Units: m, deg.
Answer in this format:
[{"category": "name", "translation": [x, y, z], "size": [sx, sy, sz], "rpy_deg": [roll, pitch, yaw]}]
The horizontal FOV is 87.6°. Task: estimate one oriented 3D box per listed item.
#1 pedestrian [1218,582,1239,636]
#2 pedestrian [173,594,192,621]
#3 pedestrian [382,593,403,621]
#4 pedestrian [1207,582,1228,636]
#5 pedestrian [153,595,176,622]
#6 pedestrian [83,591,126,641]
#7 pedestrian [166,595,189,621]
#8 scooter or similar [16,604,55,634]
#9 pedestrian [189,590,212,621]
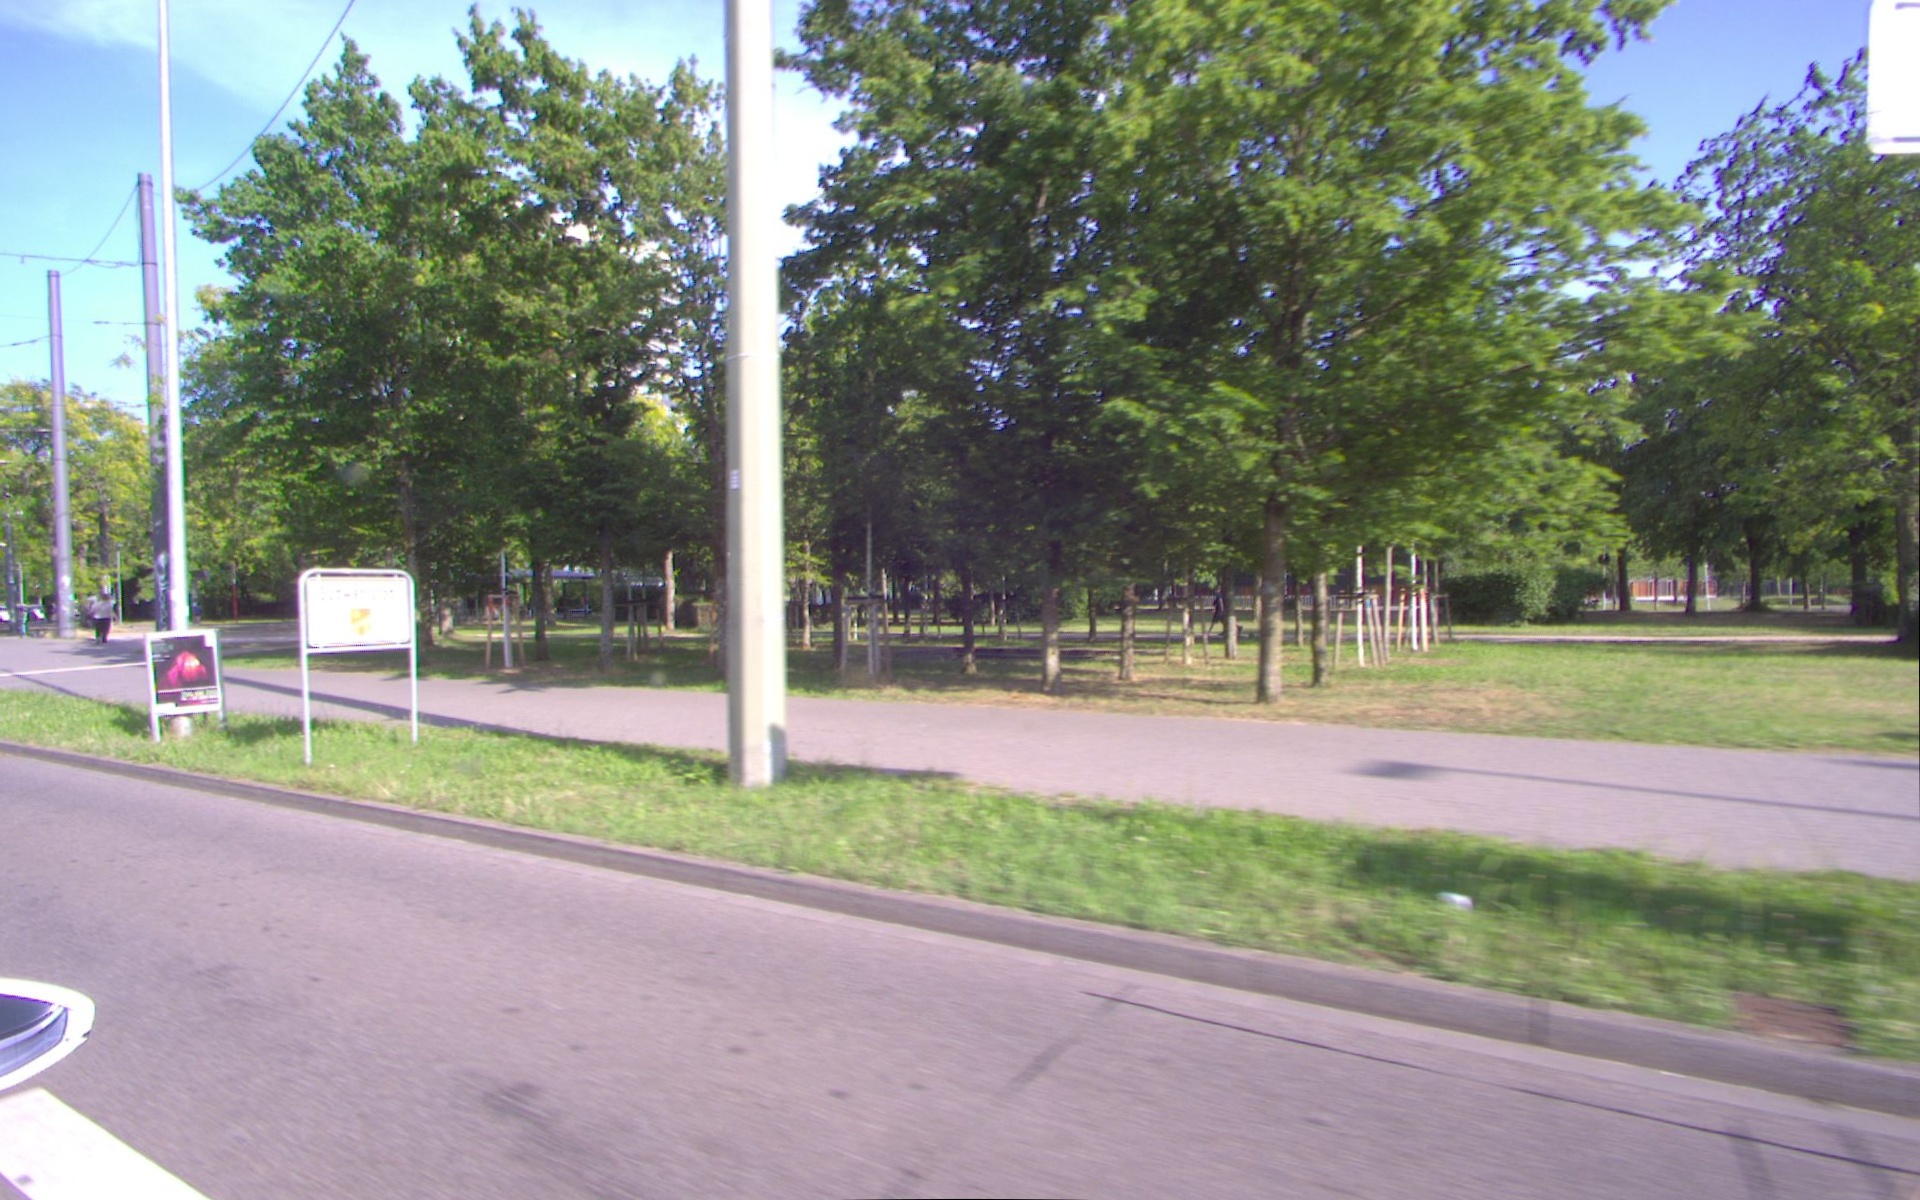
[{"category": "pedestrian", "translation": [9.371, 0.312, 34.957], "size": [0.617, 1.836, 0.502], "rpy_deg": [-1, 1, 3]}, {"category": "pedestrian", "translation": [-44.954, 0.437, 57.899], "size": [0.805, 1.508, 0.696], "rpy_deg": [-1, 1, -34]}, {"category": "pedestrian", "translation": [-34.615, 0.426, 61.045], "size": [0.792, 1.659, 0.833], "rpy_deg": [0, 1, 38]}, {"category": "pedestrian", "translation": [8.805, 0.310, 34.273], "size": [0.617, 1.836, 0.502], "rpy_deg": [-1, 1, 6]}, {"category": "pedestrian", "translation": [-45.995, 0.488, 57.908], "size": [0.687, 1.508, 0.815], "rpy_deg": [-1, 1, -10]}, {"category": "pedestrian", "translation": [-28.792, 0.543, 33.719], "size": [0.793, 1.659, 0.754], "rpy_deg": [-1, 1, -8]}, {"category": "pedestrian", "translation": [-46.067, 0.445, 58.934], "size": [0.688, 1.508, 0.813], "rpy_deg": [0, 1, 21]}, {"category": "scooter or similar", "translation": [-36.358, 0.748, 39.394], "size": [1.305, 1.132, 0.420], "rpy_deg": [0, 1, 12]}, {"category": "pedestrian", "translation": [-45.229, 0.326, 59.628], "size": [0.826, 1.809, 0.799], "rpy_deg": [0, 1, 28]}]
